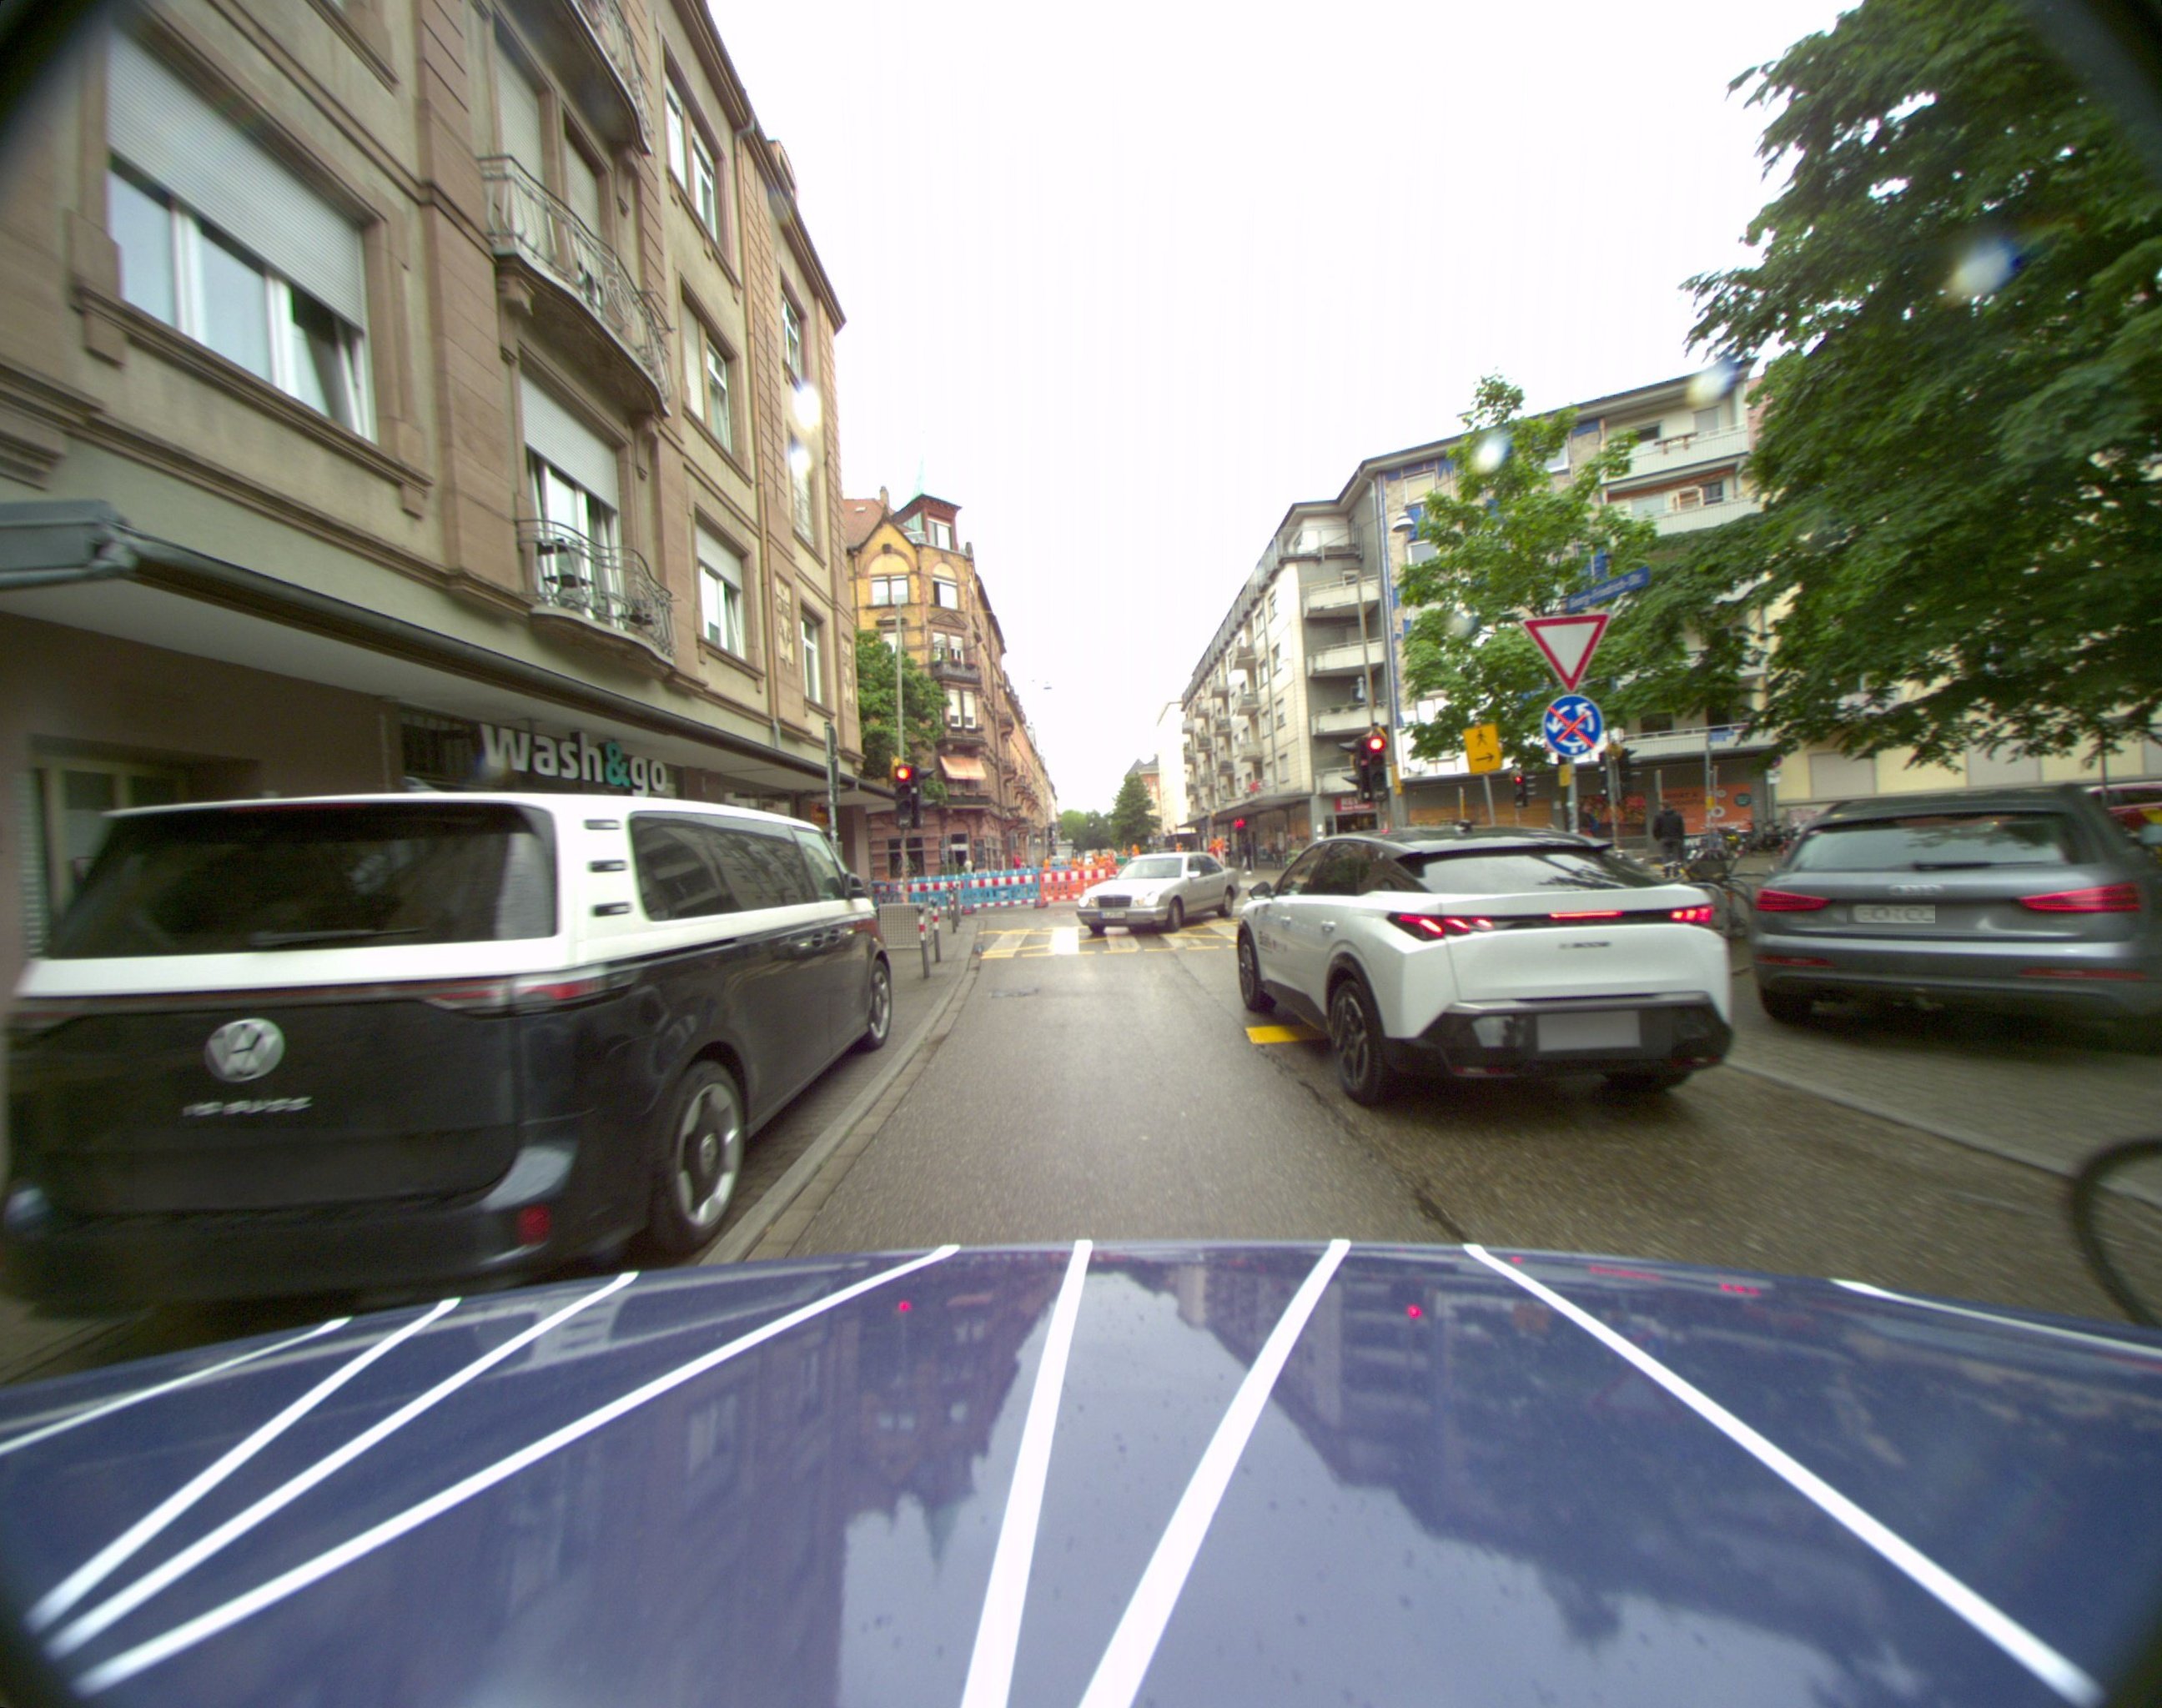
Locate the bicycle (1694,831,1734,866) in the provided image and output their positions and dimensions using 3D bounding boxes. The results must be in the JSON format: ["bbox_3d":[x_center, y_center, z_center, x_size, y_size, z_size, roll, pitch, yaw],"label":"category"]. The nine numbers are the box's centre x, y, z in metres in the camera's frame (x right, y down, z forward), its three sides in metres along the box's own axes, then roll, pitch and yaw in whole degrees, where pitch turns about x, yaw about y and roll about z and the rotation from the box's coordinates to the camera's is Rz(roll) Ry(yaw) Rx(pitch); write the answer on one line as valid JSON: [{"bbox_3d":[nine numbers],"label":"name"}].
[{"bbox_3d":[20.075,-0.188,24.128,0.588,0.966,2.004,-4,2,30],"label":"bicycle"}]

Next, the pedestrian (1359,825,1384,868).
[{"bbox_3d":[13.038,-0.329,34.129,0.692,1.757,0.865,-4,9,35],"label":"pedestrian"}]

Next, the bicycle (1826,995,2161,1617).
[{"bbox_3d":[2.661,1.006,1.142,0.772,1.173,2.269,-2,-1,-1],"label":"bicycle"}]

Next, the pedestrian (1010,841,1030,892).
[{"bbox_3d":[-3.194,0.631,39.572,0.696,2.594,0.539,-5,1,-31],"label":"pedestrian"}]

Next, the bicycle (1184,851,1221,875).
[{"bbox_3d":[7.199,0.551,44.939,2.031,1.188,0.551,-6,0,6],"label":"bicycle"}]

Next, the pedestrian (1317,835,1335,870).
[{"bbox_3d":[11.385,-0.083,35.315,0.544,1.575,0.695,-3,2,35],"label":"pedestrian"}]

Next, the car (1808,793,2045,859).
[{"bbox_3d":[25.415,-0.761,23.131,1.999,1.670,4.457,-4,0,-5],"label":"car"}]

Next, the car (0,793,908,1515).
[{"bbox_3d":[-2.603,0.813,4.694,1.999,1.927,5.228,-2,0,-2],"label":"car"}]

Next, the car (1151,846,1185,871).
[{"bbox_3d":[6.786,0.360,59.609,1.902,1.779,3.999,-4,0,-4],"label":"car"}]

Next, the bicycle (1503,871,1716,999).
[{"bbox_3d":[5.403,0.774,7.889,0.588,1.137,1.679,-5,1,-28],"label":"bicycle"}]

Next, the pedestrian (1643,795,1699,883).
[{"bbox_3d":[14.104,-0.348,18.191,0.942,2.002,0.866,-4,0,35],"label":"pedestrian"}]

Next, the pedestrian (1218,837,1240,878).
[{"bbox_3d":[7.125,0.159,36.632,0.717,1.886,0.606,-4,1,35],"label":"pedestrian"}]

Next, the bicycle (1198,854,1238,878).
[{"bbox_3d":[7.152,0.620,39.639,1.896,1.028,0.661,-6,0,-14],"label":"bicycle"}]

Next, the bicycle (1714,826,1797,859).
[{"bbox_3d":[22.803,-0.392,25.729,1.997,0.966,0.590,-4,2,17],"label":"bicycle"}]

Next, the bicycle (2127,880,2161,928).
[{"bbox_3d":[11.644,0.480,7.787,1.394,0.450,0.405,-4,1,-4],"label":"bicycle"}]

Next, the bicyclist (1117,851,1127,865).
[{"bbox_3d":[4.850,0.507,90.336,0.993,1.591,1.262,-4,0,-1],"label":"bicyclist"}]

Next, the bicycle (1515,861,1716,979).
[{"bbox_3d":[6.001,0.697,8.677,0.400,1.178,1.874,-5,1,-25],"label":"bicycle"}]

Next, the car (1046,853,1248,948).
[{"bbox_3d":[1.531,0.805,15.133,1.856,1.390,4.989,-3,1,32],"label":"car"}]

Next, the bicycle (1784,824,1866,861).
[{"bbox_3d":[22.597,-0.355,23.093,2.000,0.966,0.589,-5,2,-5],"label":"bicycle"}]

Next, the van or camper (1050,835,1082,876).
[{"bbox_3d":[-1.322,0.143,66.654,2.411,3.308,7.072,-4,0,-1],"label":"van or camper"}]

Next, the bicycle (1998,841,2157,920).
[{"bbox_3d":[11.631,0.301,8.880,1.394,0.810,0.405,-4,0,-4],"label":"bicycle"}]

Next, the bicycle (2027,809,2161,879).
[{"bbox_3d":[18.286,-0.193,13.341,2.411,1.085,0.742,-3,1,-1],"label":"bicycle"}]

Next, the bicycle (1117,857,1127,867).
[{"bbox_3d":[4.877,0.916,90.342,0.993,1.149,2.876,-4,0,-1],"label":"bicycle"}]

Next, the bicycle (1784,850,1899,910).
[{"bbox_3d":[11.683,0.391,11.682,1.394,0.810,0.405,-4,0,-4],"label":"bicycle"}]

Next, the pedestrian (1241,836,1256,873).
[{"bbox_3d":[8.459,0.024,38.444,0.604,1.837,0.770,-4,0,9],"label":"pedestrian"}]

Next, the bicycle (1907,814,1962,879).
[{"bbox_3d":[17.671,-0.153,15.762,0.474,1.268,1.870,-3,-1,41],"label":"bicycle"}]

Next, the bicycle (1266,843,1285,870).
[{"bbox_3d":[10.501,0.116,41.070,0.450,1.365,2.024,-6,0,2],"label":"bicycle"}]

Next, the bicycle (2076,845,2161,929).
[{"bbox_3d":[11.561,0.330,8.119,1.394,0.810,0.405,-4,1,-4],"label":"bicycle"}]

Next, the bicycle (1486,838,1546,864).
[{"bbox_3d":[17.322,-0.100,30.315,0.590,0.965,1.996,-4,2,-34],"label":"bicycle"}]

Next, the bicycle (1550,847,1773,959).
[{"bbox_3d":[6.842,0.544,9.089,0.777,1.137,1.927,-5,1,-28],"label":"bicycle"}]

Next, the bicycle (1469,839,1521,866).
[{"bbox_3d":[16.447,-0.044,30.204,0.569,0.965,1.688,-4,0,-34],"label":"bicycle"}]

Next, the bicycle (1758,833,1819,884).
[{"bbox_3d":[15.723,0.085,16.927,0.864,1.038,2.418,-3,-1,41],"label":"bicycle"}]

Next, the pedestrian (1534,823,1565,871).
[{"bbox_3d":[16.308,-0.240,26.471,0.797,1.606,0.606,-4,1,35],"label":"pedestrian"}]

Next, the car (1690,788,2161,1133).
[{"bbox_3d":[6.597,0.438,5.712,4.464,1.555,1.995,-6,3,-36],"label":"car"}]

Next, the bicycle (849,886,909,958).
[{"bbox_3d":[-3.672,1.202,13.973,0.625,1.121,1.937,-3,0,-3],"label":"bicycle"}]

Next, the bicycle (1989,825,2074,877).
[{"bbox_3d":[19.004,-0.084,15.233,0.588,0.955,1.726,-3,0,36],"label":"bicycle"}]

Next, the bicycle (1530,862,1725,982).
[{"bbox_3d":[5.804,0.678,8.188,0.400,1.137,1.679,-5,1,-25],"label":"bicycle"}]

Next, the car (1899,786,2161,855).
[{"bbox_3d":[27.727,-0.895,22.472,1.999,1.661,4.457,-4,0,-5],"label":"car"}]

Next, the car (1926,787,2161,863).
[{"bbox_3d":[24.695,-0.697,18.970,4.377,1.630,1.846,-3,0,25],"label":"car"}]

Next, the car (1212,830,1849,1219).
[{"bbox_3d":[2.409,0.754,5.833,1.863,1.650,5.008,-2,0,-1],"label":"car"}]

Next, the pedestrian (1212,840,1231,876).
[{"bbox_3d":[7.348,0.211,39.719,0.862,1.837,0.770,-4,0,9],"label":"pedestrian"}]

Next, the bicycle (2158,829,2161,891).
[{"bbox_3d":[16.033,0.063,11.032,1.548,0.810,0.404,-4,1,-34],"label":"bicycle"}]

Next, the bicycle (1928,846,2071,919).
[{"bbox_3d":[11.733,0.357,9.716,1.394,0.810,0.405,-4,0,-4],"label":"bicycle"}]
